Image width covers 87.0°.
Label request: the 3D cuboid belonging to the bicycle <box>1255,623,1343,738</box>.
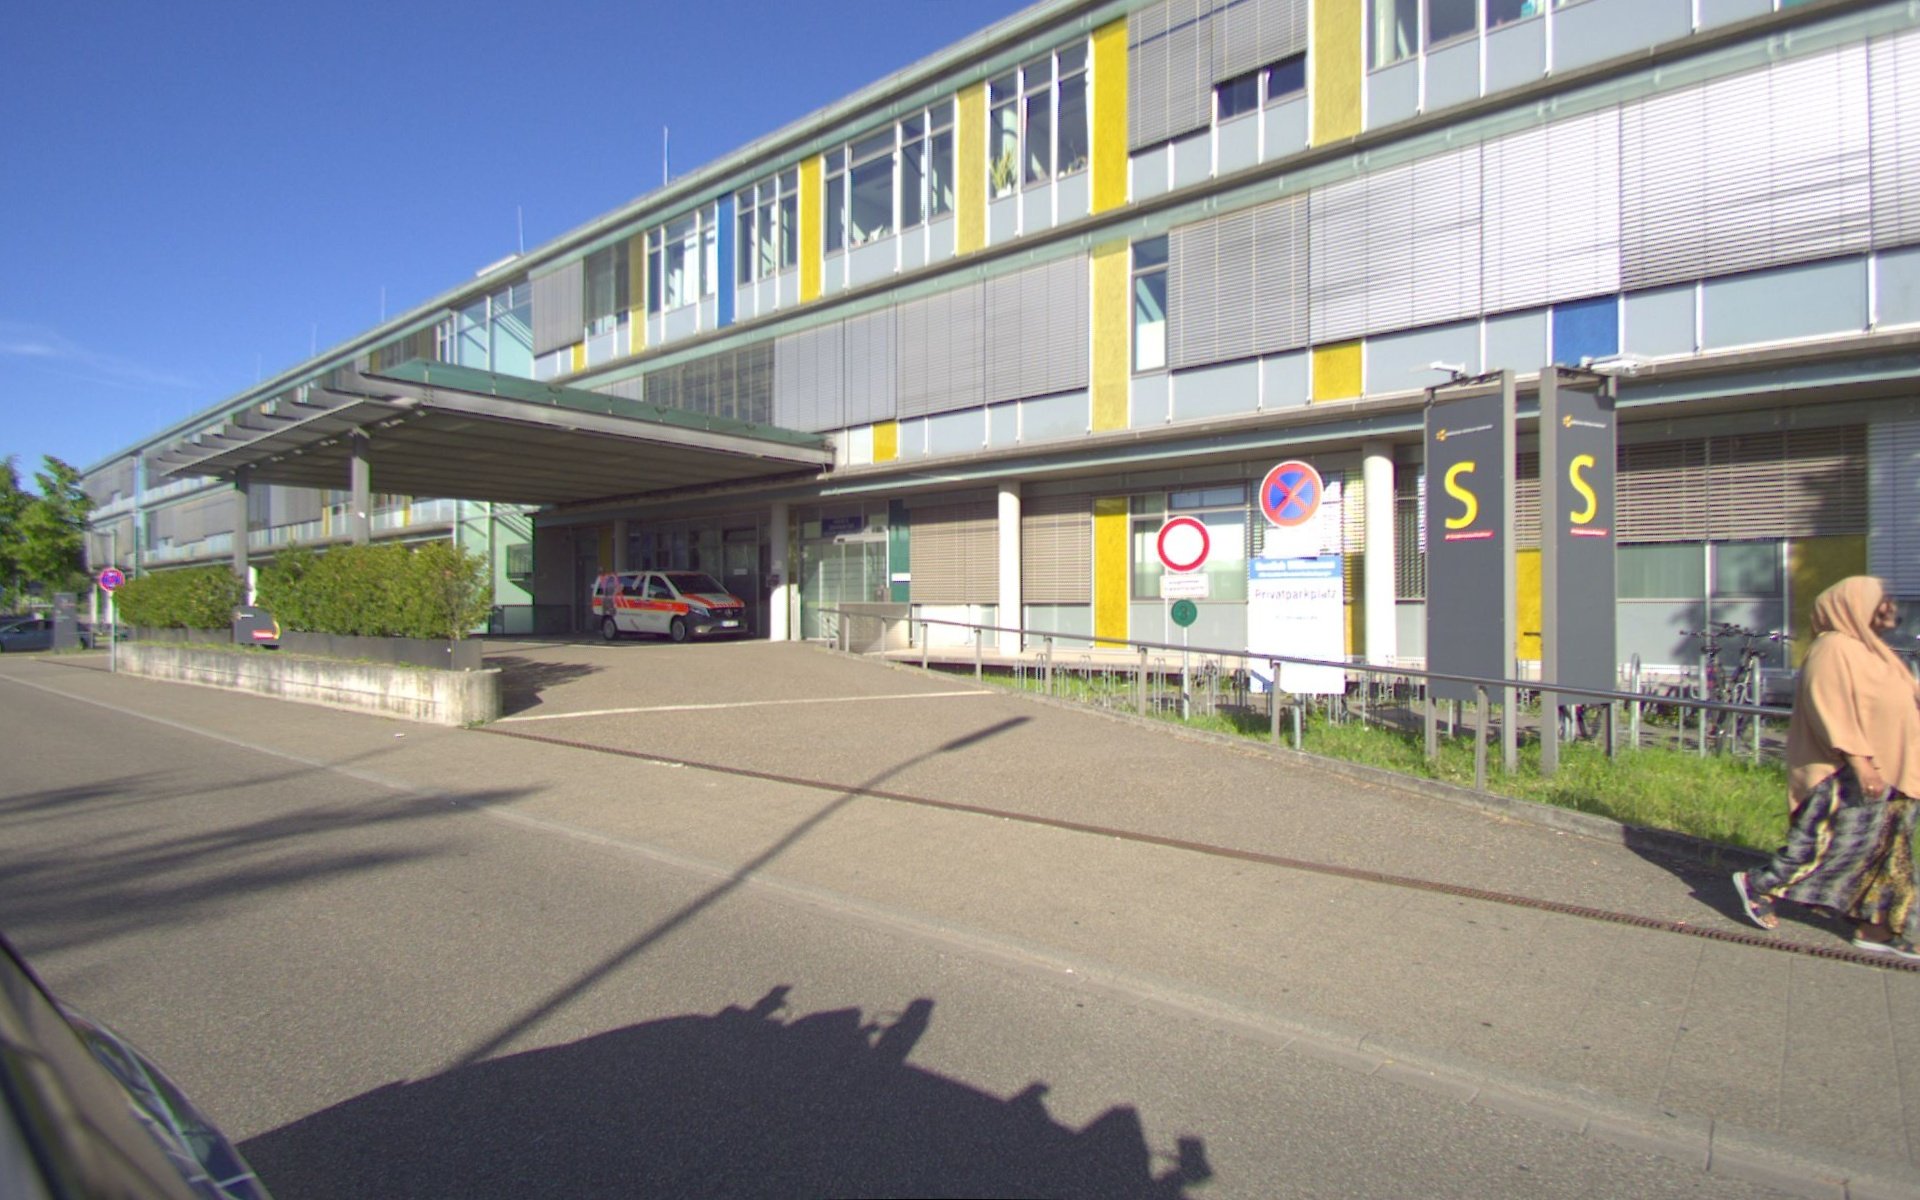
[{"bbox_3d":[3.684,0.820,10.926,0.534,1.132,1.702,-1,-1,31],"label":"bicycle"}]

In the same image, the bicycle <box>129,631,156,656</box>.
[{"bbox_3d":[-38.830,2.067,48.075,1.778,1.151,0.629,-1,-2,40],"label":"bicycle"}]

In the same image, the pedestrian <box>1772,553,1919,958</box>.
[{"bbox_3d":[3.900,0.590,4.211,0.779,1.560,0.765,0,1,41],"label":"pedestrian"}]

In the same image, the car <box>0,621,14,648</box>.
[{"bbox_3d":[-60.385,2.180,61.236,1.996,1.639,4.309,0,1,36],"label":"car"}]

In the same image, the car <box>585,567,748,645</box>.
[{"bbox_3d":[-7.865,0.194,26.879,4.708,1.905,1.900,-1,-2,41],"label":"car"}]

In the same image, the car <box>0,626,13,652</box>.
[{"bbox_3d":[-56.435,2.314,57.191,1.822,1.433,4.051,0,1,39],"label":"car"}]

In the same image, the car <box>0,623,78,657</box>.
[{"bbox_3d":[-41.580,1.759,44.512,1.729,1.448,3.949,-1,-1,38],"label":"car"}]

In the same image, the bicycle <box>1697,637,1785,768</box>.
[{"bbox_3d":[6.720,0.826,8.696,0.535,0.981,1.698,-1,-2,39],"label":"bicycle"}]

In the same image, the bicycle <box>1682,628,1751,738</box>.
[{"bbox_3d":[8.538,0.886,11.399,0.536,1.132,1.698,-1,-2,39],"label":"bicycle"}]

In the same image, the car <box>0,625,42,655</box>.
[{"bbox_3d":[-50.827,2.126,52.917,1.822,1.499,3.942,0,1,39],"label":"car"}]

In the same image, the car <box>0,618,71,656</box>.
[{"bbox_3d":[-43.548,1.708,46.225,1.958,1.664,4.180,-1,-1,38],"label":"car"}]

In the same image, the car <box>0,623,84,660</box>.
[{"bbox_3d":[-39.761,1.741,42.620,1.752,1.478,4.090,-1,-1,39],"label":"car"}]

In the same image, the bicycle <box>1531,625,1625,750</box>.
[{"bbox_3d":[5.868,0.776,9.569,0.535,1.063,1.698,-1,-2,39],"label":"bicycle"}]

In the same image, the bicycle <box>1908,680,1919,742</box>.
[{"bbox_3d":[9.860,1.126,10.037,0.536,0.555,1.698,-1,-2,39],"label":"bicycle"}]
